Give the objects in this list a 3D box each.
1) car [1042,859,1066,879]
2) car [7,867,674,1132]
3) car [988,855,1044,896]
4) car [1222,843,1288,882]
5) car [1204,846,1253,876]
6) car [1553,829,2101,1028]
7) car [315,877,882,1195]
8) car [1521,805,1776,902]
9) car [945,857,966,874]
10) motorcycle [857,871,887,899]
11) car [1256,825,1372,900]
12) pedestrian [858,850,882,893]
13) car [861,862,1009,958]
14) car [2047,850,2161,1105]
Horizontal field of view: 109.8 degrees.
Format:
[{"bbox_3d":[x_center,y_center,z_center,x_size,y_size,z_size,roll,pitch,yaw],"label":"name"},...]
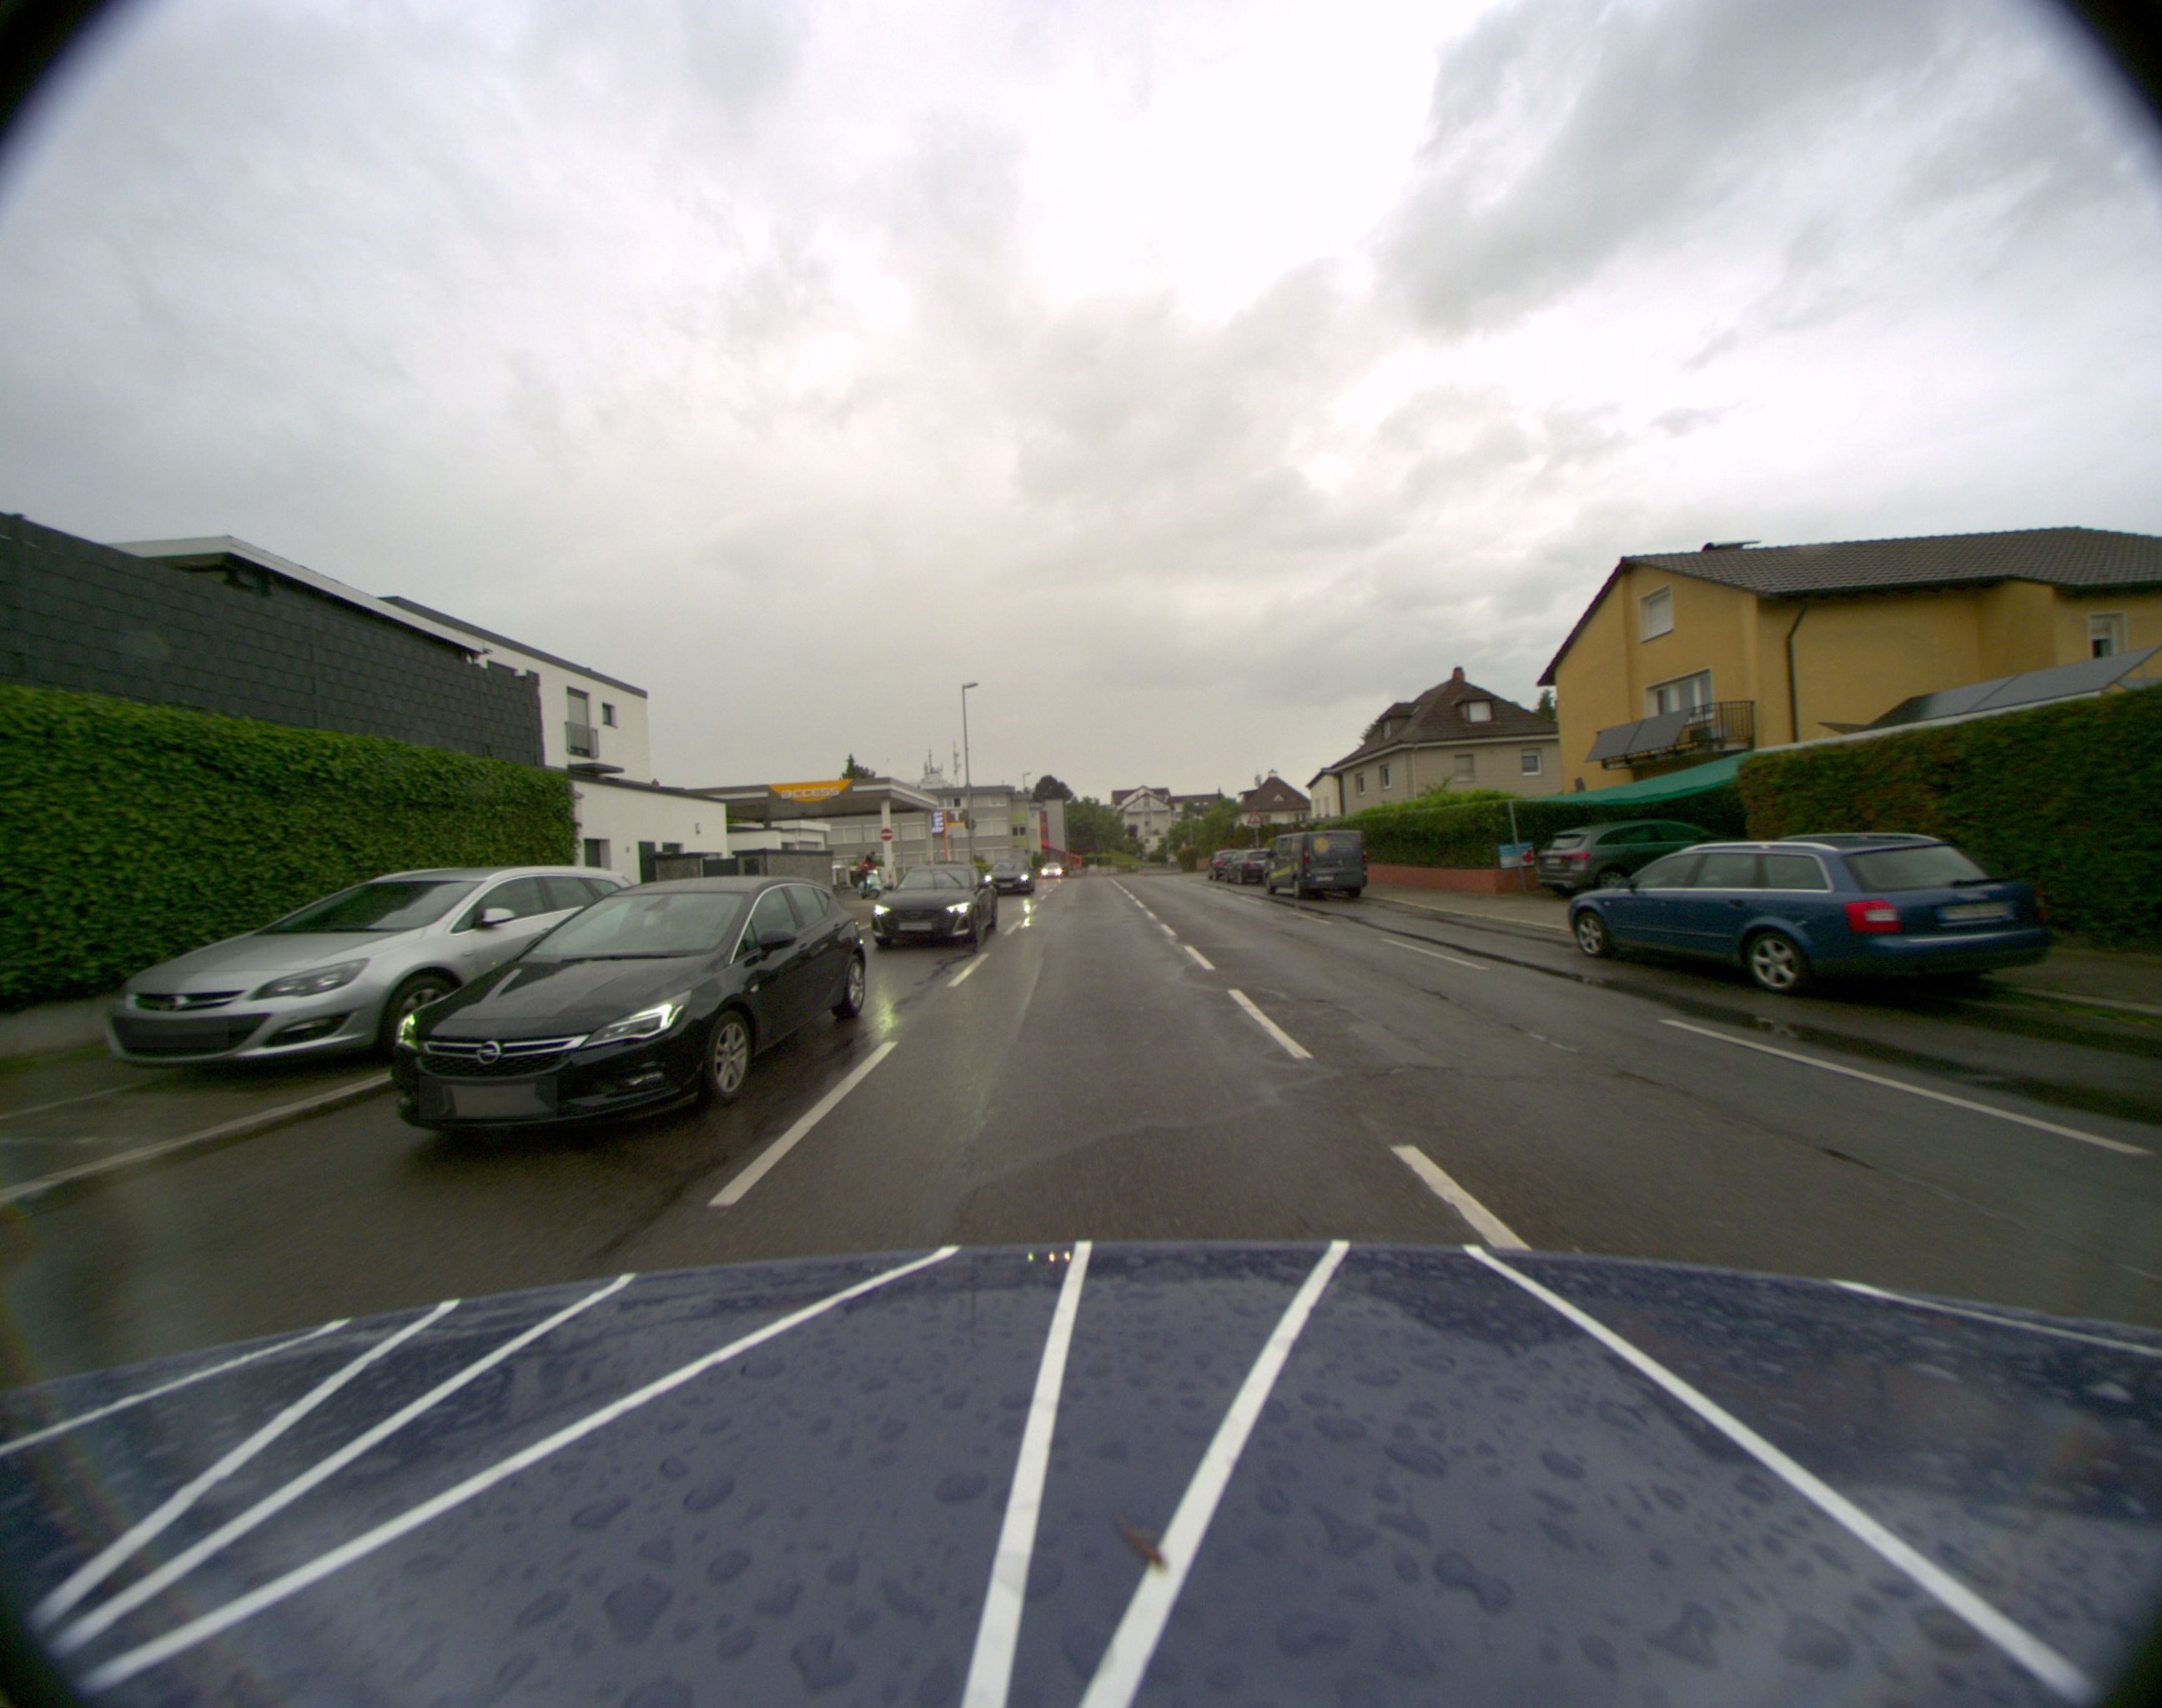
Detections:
[{"bbox_3d":[-2.506,1.361,71.324,1.998,1.647,4.000,-3,1,1],"label":"car"},{"bbox_3d":[-5.965,0.973,7.144,1.704,1.501,4.534,-3,1,1],"label":"car"},{"bbox_3d":[-2.707,0.849,32.606,1.872,1.510,4.000,-3,1,1],"label":"car"},{"bbox_3d":[7.672,0.332,33.859,1.755,1.508,4.526,-3,1,-1],"label":"car"},{"bbox_3d":[7.716,0.330,40.024,1.754,1.431,4.129,-3,1,1],"label":"car"},{"bbox_3d":[7.340,0.576,8.265,1.761,1.524,4.286,-3,1,1],"label":"car"},{"bbox_3d":[-3.079,1.034,6.015,1.760,1.441,4.000,-3,1,2],"label":"car"},{"bbox_3d":[12.165,-0.021,16.506,3.969,1.604,1.918,-6,1,2],"label":"car"},{"bbox_3d":[-11.931,1.109,72.284,1.815,1.518,3.997,1,0,-7],"label":"car"},{"bbox_3d":[-8.126,1.199,29.529,0.465,1.049,1.387,-4,1,-44],"label":"motorcycle"},{"bbox_3d":[7.106,0.215,23.788,1.918,1.991,5.086,-3,1,-1],"label":"car"},{"bbox_3d":[-8.222,0.675,29.589,0.613,1.646,0.584,-4,2,-43],"label":"pedestrian"},{"bbox_3d":[-2.688,0.977,15.206,1.871,1.416,4.739,-3,1,1],"label":"car"},{"bbox_3d":[7.007,0.703,2.855,1.555,1.423,4.013,-3,1,-2],"label":"car"}]
